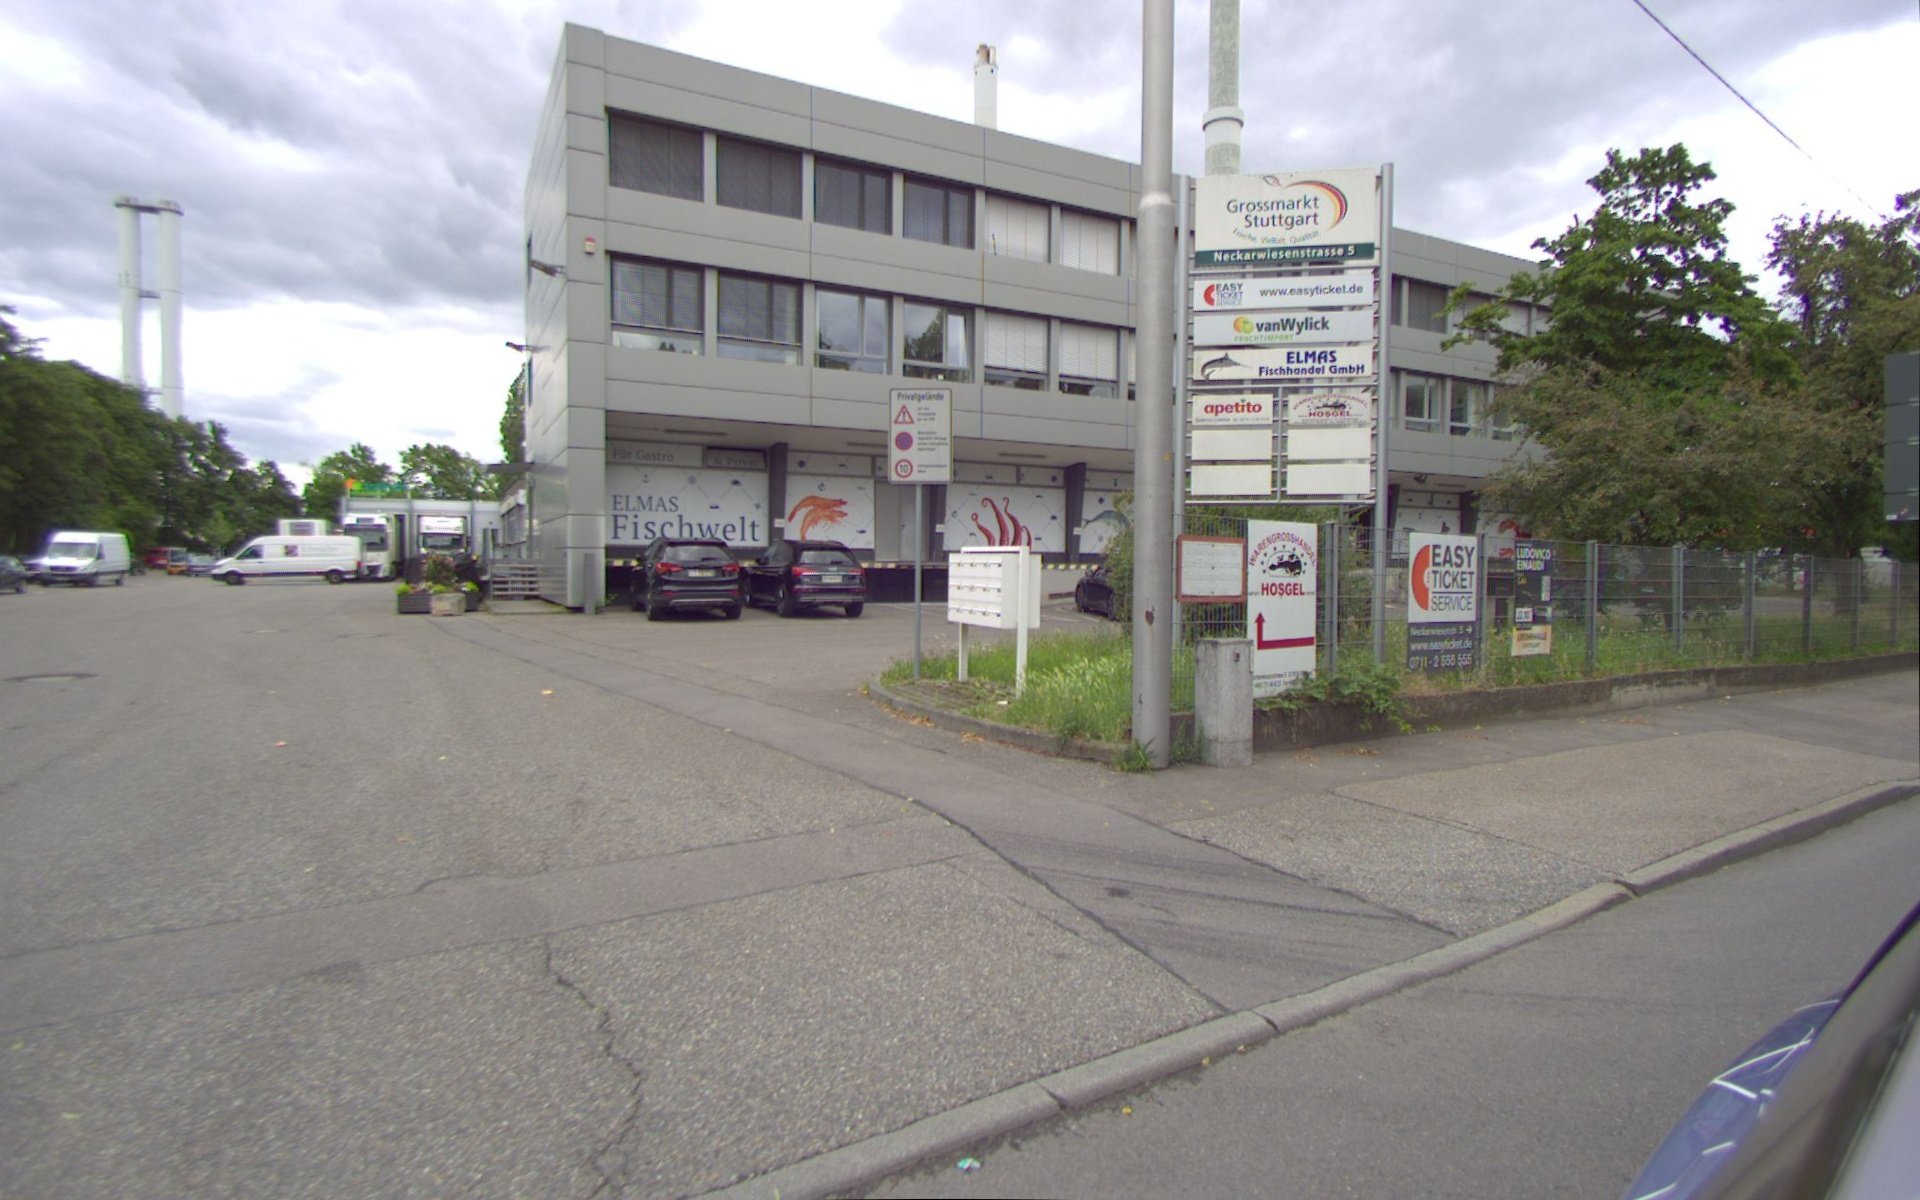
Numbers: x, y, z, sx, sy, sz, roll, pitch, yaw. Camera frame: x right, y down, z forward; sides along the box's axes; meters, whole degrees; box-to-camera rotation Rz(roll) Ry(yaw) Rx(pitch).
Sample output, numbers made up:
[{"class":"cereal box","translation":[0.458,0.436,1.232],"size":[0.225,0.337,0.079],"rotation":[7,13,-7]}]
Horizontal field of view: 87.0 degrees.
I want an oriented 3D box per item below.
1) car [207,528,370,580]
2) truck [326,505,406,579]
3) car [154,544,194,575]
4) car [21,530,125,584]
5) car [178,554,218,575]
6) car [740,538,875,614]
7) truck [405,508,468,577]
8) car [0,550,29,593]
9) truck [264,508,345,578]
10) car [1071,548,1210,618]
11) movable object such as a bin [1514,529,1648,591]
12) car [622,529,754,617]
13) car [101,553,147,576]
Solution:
[{"class":"car","translation":[-35.188,-2.402,53.328],"size":[6.816,2.584,2.705],"rotation":[0,2,-26]},{"class":"truck","translation":[-37.049,-3.537,63.550],"size":[3.165,4.128,12.956],"rotation":[0,2,-25]},{"class":"car","translation":[-61.256,-3.175,78.940],"size":[1.793,2.304,4.249],"rotation":[0,2,-29]},{"class":"car","translation":[-42.726,-2.086,48.967],"size":[2.353,2.438,6.691],"rotation":[0,2,-29]},{"class":"car","translation":[-56.877,-2.671,75.588],"size":[1.793,1.562,4.249],"rotation":[0,2,-29]},{"class":"car","translation":[-3.522,-0.582,22.827],"size":[1.793,1.553,3.718],"rotation":[0,2,-30]},{"class":"truck","translation":[-33.652,-3.620,65.438],"size":[3.165,4.010,12.956],"rotation":[0,2,-25]},{"class":"car","translation":[-36.817,-1.092,37.951],"size":[1.793,1.562,4.249],"rotation":[0,2,-29]},{"class":"truck","translation":[-46.658,-4.009,72.451],"size":[3.165,4.520,12.956],"rotation":[0,2,-25]},{"class":"car","translation":[4.334,-0.481,25.162],"size":[1.982,1.553,4.869],"rotation":[1,2,-8]},{"class":"movable object such as a bin","translation":[24.506,-1.617,40.071],"size":[1.914,2.333,4.005],"rotation":[-1,3,-31]},{"class":"car","translation":[-5.844,-0.596,21.445],"size":[1.821,1.694,3.718],"rotation":[0,2,-30]},{"class":"car","translation":[-60.513,-2.575,73.293],"size":[1.793,1.562,4.249],"rotation":[0,2,-29]}]
